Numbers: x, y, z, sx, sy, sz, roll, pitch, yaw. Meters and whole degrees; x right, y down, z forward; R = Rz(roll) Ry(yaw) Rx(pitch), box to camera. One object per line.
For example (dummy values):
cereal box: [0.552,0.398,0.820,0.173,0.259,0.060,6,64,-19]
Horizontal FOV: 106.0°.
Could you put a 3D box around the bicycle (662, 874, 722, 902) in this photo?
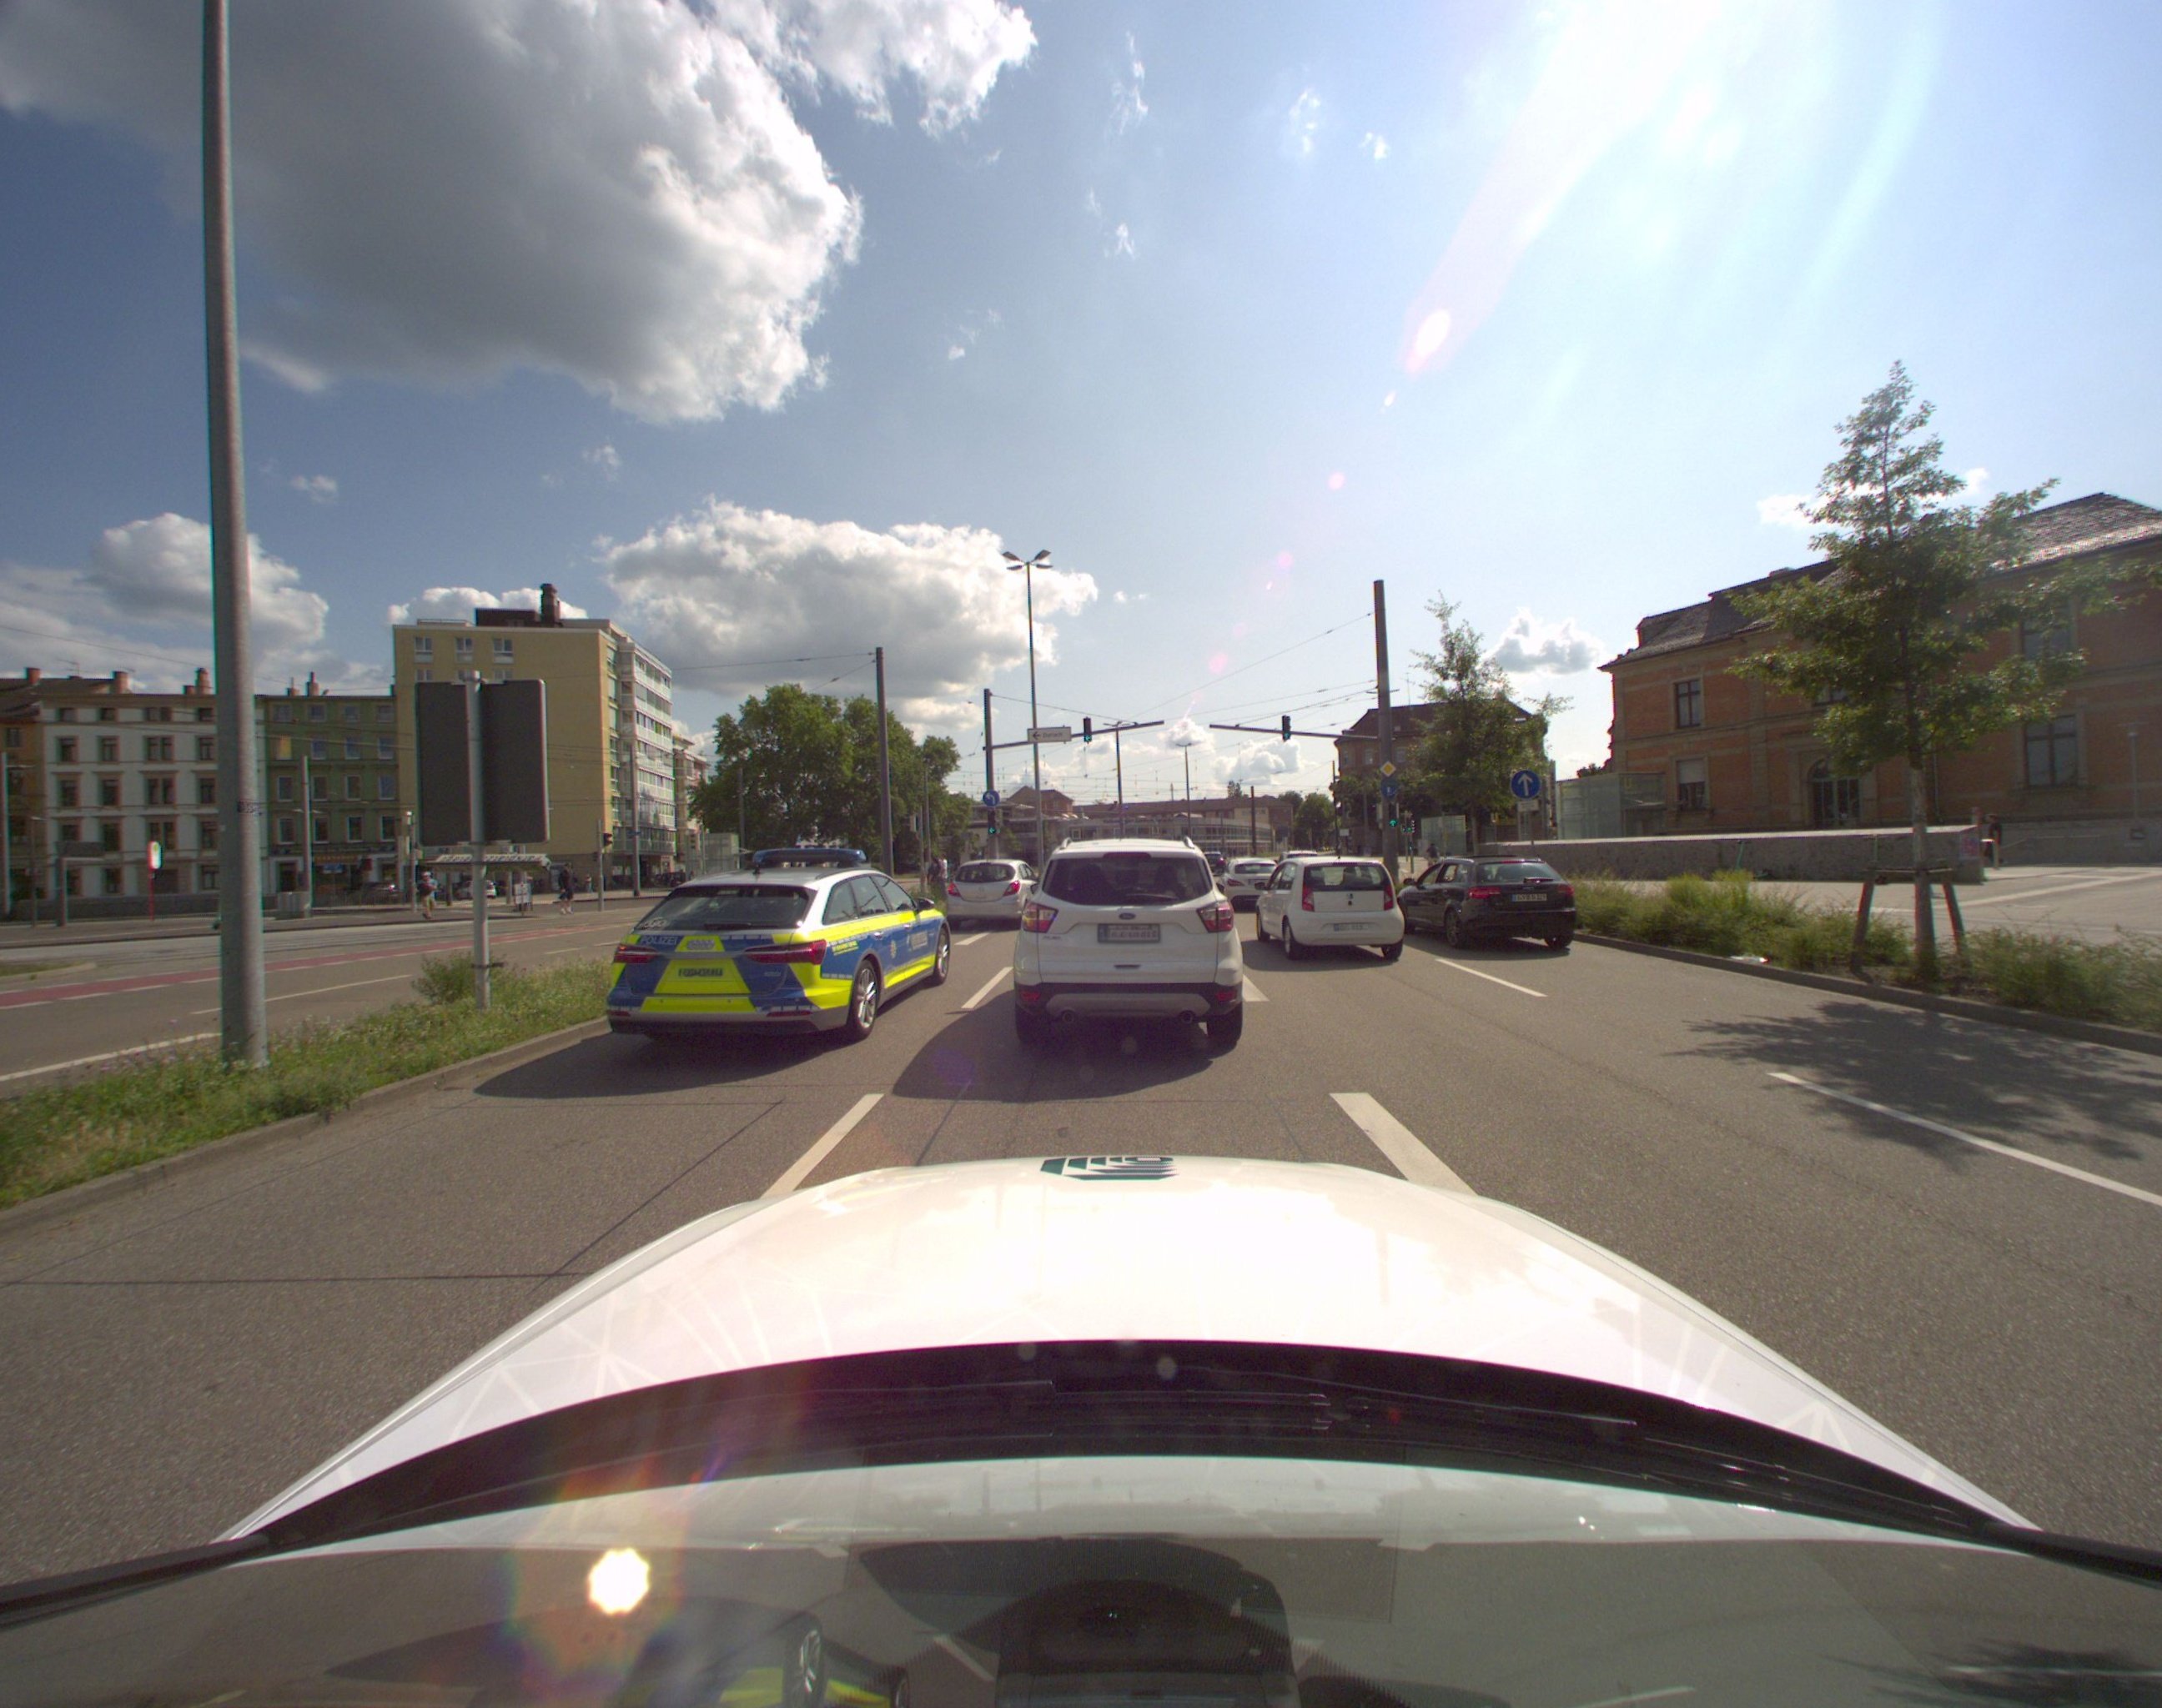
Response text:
bicycle: [-18.584,1.617,38.947,2.286,1.188,0.994,-3,-1,-1]

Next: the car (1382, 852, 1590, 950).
car: [6.633,0.700,13.873,1.691,1.372,4.137,-2,0,4]

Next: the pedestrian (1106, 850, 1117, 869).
pedestrian: [2.882,0.492,76.605,0.918,1.744,0.590,0,-1,7]

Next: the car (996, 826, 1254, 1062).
car: [0.496,0.658,7.794,1.818,1.664,3.961,-1,0,5]

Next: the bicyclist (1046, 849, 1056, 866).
bicyclist: [-2.978,0.358,80.569,0.753,1.683,0.764,-3,0,16]

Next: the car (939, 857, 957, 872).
car: [-20.240,1.632,124.182,1.989,2.014,4.227,-4,-1,-2]

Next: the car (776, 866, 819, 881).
car: [-30.402,2.105,87.344,3.975,1.327,1.632,-3,-1,-1]

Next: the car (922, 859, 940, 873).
car: [-22.875,1.819,124.499,1.963,1.937,4.227,-4,-1,-2]

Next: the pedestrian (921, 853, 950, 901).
pedestrian: [-5.203,0.805,29.098,0.844,1.648,0.693,-2,-1,1]

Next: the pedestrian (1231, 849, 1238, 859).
pedestrian: [26.890,0.080,142.973,0.866,1.737,0.882,-1,-1,37]

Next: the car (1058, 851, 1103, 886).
car: [0.011,0.694,39.904,2.032,1.578,4.539,-1,0,1]

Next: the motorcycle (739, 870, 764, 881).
motorcycle: [-31.375,2.091,77.618,0.801,0.917,2.057,-2,1,39]

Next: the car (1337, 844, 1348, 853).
car: [53.903,-1.079,167.717,1.820,1.652,4.021,-2,-1,22]

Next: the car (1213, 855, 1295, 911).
car: [4.845,0.774,23.296,1.841,1.419,3.684,-1,0,5]

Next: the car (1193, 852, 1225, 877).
car: [7.798,0.625,49.732,1.839,1.419,3.688,-1,0,9]

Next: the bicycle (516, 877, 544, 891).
bicycle: [-46.774,2.555,69.175,1.808,1.104,0.792,-2,0,-18]

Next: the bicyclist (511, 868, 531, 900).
bicyclist: [-32.406,1.719,47.127,0.779,1.797,0.706,0,-1,-17]

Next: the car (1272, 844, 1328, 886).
car: [9.364,0.471,35.059,1.826,1.652,4.009,-1,-1,8]

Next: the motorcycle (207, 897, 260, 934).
motorcycle: [-30.625,2.211,29.444,1.436,1.237,0.484,-3,-1,3]

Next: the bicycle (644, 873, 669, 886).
bicycle: [-38.322,2.281,73.564,1.808,1.147,0.792,-2,0,-17]

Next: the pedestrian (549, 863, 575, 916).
pedestrian: [-19.096,1.295,29.972,0.770,1.903,0.819,0,-1,-30]

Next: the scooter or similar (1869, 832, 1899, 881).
scooter or similar: [19.712,0.052,19.982,1.326,1.104,0.460,-3,0,-44]

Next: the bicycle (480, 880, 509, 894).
bicycle: [-49.348,2.778,68.499,1.808,1.104,0.792,-2,0,-18]

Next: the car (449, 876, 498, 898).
car: [-45.936,2.511,61.530,3.849,1.497,1.912,-3,-2,37]

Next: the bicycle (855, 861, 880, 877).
bicycle: [-19.759,1.410,75.425,2.171,1.414,0.808,-1,0,-14]

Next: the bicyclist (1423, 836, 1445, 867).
bicyclist: [14.511,-0.094,33.490,0.630,1.220,0.927,-4,0,14]

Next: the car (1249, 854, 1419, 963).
car: [3.893,0.751,13.197,1.642,1.422,4.003,-2,0,3]

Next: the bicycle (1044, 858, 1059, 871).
bicycle: [-2.929,1.078,80.597,0.753,1.192,2.160,-3,0,16]

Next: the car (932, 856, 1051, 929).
car: [-1.922,0.806,18.728,1.838,1.474,4.007,-1,0,6]

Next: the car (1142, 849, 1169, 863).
car: [8.580,0.229,93.518,1.882,1.461,3.991,-3,-1,24]

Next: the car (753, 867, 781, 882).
car: [-32.446,2.130,84.250,1.905,1.413,3.986,-3,-1,-10]

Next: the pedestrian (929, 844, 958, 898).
pedestrian: [-5.018,0.632,29.825,0.844,1.917,0.693,-2,-1,1]

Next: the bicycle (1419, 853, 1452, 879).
bicycle: [14.572,0.472,33.516,0.841,0.970,1.968,-5,0,14]

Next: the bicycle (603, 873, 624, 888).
bicycle: [-41.284,2.362,71.946,0.792,1.258,1.808,-2,0,-2]

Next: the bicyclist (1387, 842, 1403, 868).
bicyclist: [18.422,0.058,47.797,0.605,1.451,0.775,-2,-1,4]

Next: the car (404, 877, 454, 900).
car: [-48.024,2.559,59.967,3.849,1.497,1.912,-3,-2,35]

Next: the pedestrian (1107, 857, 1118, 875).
pedestrian: [3.016,1.129,77.648,0.918,1.744,0.590,0,-1,8]

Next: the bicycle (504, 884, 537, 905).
bicycle: [-32.384,2.325,47.076,0.889,1.138,2.344,0,-1,-17]

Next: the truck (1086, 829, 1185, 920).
truck: [1.650,0.497,22.324,2.326,2.155,5.863,-1,0,7]

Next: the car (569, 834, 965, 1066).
car: [-2.549,0.678,8.039,1.872,1.568,4.618,-2,0,3]

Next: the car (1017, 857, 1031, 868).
car: [-8.574,1.278,122.249,1.814,1.534,3.913,-4,-1,-2]

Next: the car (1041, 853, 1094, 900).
car: [-0.424,0.770,30.252,1.756,1.568,4.528,-2,0,1]

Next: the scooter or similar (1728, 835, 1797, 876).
scooter or similar: [19.414,0.055,23.237,0.466,1.118,1.438,-3,0,-18]

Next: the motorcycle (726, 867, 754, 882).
motorcycle: [-30.424,1.853,72.750,2.193,1.238,0.910,-2,1,19]

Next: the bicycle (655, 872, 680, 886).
bicycle: [-38.009,2.306,74.861,1.948,1.147,0.792,-2,0,-17]

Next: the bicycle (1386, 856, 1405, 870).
bicycle: [18.459,0.504,47.802,0.582,0.775,1.623,-2,0,4]

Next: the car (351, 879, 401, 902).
car: [-51.444,2.689,59.413,3.849,1.497,1.912,-3,-2,35]

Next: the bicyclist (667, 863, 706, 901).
bicyclist: [-18.847,1.330,38.942,1.293,1.731,0.994,-3,-1,-1]

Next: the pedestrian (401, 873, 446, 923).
pedestrian: [-24.330,1.610,30.159,0.761,1.797,1.029,0,-1,4]
